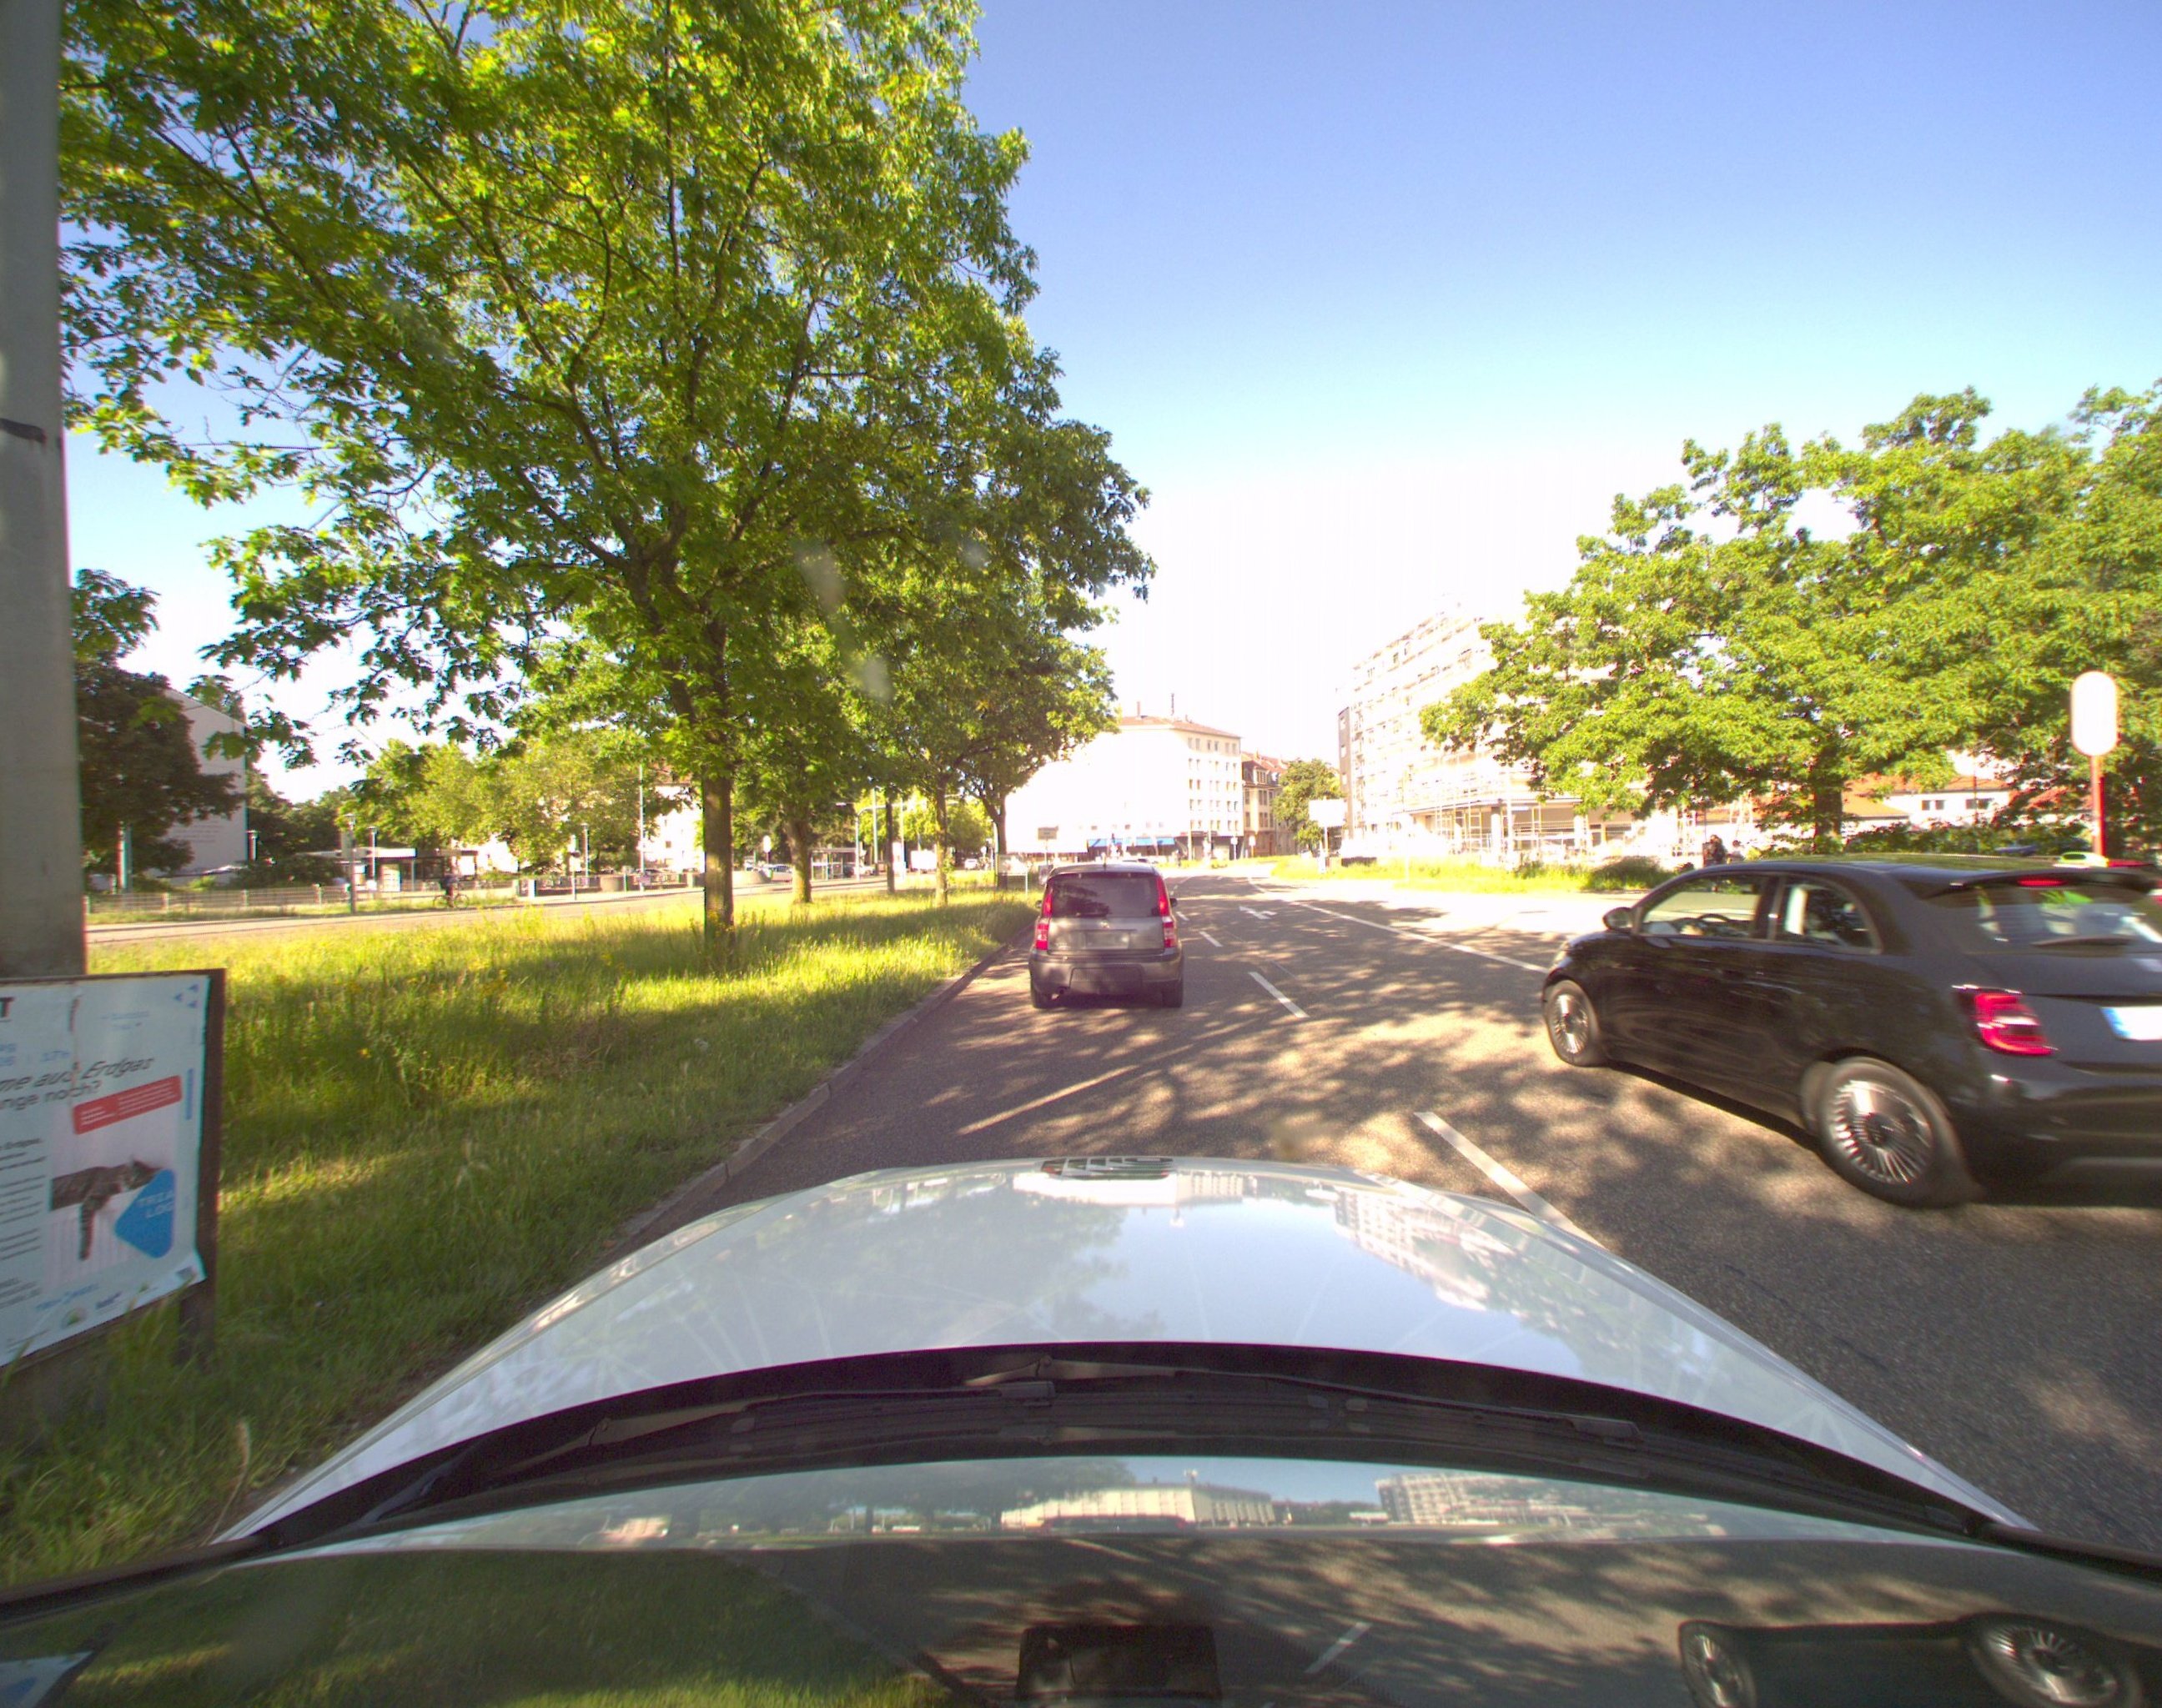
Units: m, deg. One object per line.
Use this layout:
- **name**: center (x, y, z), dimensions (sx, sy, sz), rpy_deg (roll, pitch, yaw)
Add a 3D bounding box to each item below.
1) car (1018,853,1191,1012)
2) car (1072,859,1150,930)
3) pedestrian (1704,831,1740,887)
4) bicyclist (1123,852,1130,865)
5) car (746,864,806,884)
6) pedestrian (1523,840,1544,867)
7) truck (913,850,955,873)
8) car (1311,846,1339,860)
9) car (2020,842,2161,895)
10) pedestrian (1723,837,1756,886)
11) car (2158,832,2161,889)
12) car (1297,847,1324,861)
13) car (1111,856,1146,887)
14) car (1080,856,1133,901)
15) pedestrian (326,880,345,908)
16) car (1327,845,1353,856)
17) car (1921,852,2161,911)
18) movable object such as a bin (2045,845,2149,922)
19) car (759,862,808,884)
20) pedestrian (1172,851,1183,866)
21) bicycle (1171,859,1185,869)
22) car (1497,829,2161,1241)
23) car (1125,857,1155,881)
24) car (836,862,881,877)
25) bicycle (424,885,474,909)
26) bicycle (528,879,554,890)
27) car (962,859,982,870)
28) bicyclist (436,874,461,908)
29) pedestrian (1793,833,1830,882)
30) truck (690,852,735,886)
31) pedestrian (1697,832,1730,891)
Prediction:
- **car**: center (0.331, 0.775, 9.620), dimensions (1.653, 1.510, 3.254), rpy_deg (-2, 0, 3)
- **car**: center (0.697, 0.878, 19.118), dimensions (1.615, 1.429, 3.690), rpy_deg (-2, 0, 2)
- **pedestrian**: center (19.170, 0.149, 24.365), dimensions (0.619, 1.634, 0.552), rpy_deg (-2, 0, 2)
- **bicyclist**: center (4.740, 0.477, 85.106), dimensions (0.533, 1.357, 0.592), rpy_deg (-2, 0, -27)
- **car**: center (-26.537, 1.725, 71.002), dimensions (1.849, 1.544, 4.576), rpy_deg (2, 2, 45)
- **pedestrian**: center (26.110, -0.027, 47.003), dimensions (0.649, 1.497, 0.907), rpy_deg (-1, 0, -6)
- **truck**: center (-16.171, 0.813, 89.404), dimensions (4.070, 2.427, 1.799), rpy_deg (-2, 0, 11)
- **car**: center (27.959, -0.113, 93.159), dimensions (1.802, 1.508, 4.026), rpy_deg (-2, 0, 35)
- **car**: center (33.639, 0.458, 26.403), dimensions (1.984, 1.607, 4.006), rpy_deg (0, -1, 5)
- **pedestrian**: center (20.852, 0.223, 25.788), dimensions (0.525, 1.518, 0.614), rpy_deg (-2, 0, 4)
- **car**: center (29.726, 0.269, 19.351), dimensions (1.984, 1.537, 4.897), rpy_deg (0, 2, 5)
- **car**: center (25.092, -0.010, 89.097), dimensions (1.757, 1.442, 3.642), rpy_deg (-1, 1, 34)
- **car**: center (2.367, 0.851, 40.806), dimensions (1.639, 1.438, 3.399), rpy_deg (-2, 0, 3)
- **car**: center (0.886, 0.861, 30.498), dimensions (1.754, 1.486, 4.292), rpy_deg (-2, 0, -1)
- **pedestrian**: center (-50.092, 2.684, 54.700), dimensions (0.553, 1.829, 0.731), rpy_deg (-2, -1, 23)
- **car**: center (37.930, -0.522, 119.447), dimensions (1.905, 1.594, 3.985), rpy_deg (-2, 0, -11)
- **car**: center (21.881, 0.567, 18.593), dimensions (1.392, 1.154, 3.912), rpy_deg (-2, 0, 1)
- **movable object such as a bin**: center (14.335, 0.407, 11.507), dimensions (0.724, 1.030, 0.578), rpy_deg (-2, 0, 1)
- **car**: center (-27.113, 1.696, 74.233), dimensions (1.741, 1.717, 4.025), rpy_deg (2, 2, 29)
- **pedestrian**: center (9.138, 0.453, 76.923), dimensions (0.774, 1.428, 0.935), rpy_deg (0, -1, -12)
- **bicycle**: center (9.148, 0.928, 76.847), dimensions (0.783, 0.951, 1.849), rpy_deg (0, -1, -11)
- **car**: center (4.231, 0.660, 4.825), dimensions (1.669, 1.503, 3.561), rpy_deg (-2, 0, 0)
- **car**: center (3.672, 0.920, 50.481), dimensions (1.682, 1.253, 3.633), rpy_deg (-2, 1, 6)
- **car**: center (-24.440, 1.700, 89.563), dimensions (4.377, 1.448, 1.667), rpy_deg (-2, 0, -3)
- **bicycle**: center (-28.917, 1.968, 37.297), dimensions (0.606, 1.001, 1.668), rpy_deg (-2, 0, 28)
- **bicycle**: center (-43.077, 2.434, 64.945), dimensions (1.695, 0.839, 0.541), rpy_deg (-2, 0, -41)
- **car**: center (-14.398, 1.331, 107.841), dimensions (1.986, 1.310, 4.002), rpy_deg (-2, 0, 2)
- **bicyclist**: center (-28.938, 1.690, 37.284), dimensions (0.606, 1.530, 0.680), rpy_deg (0, 1, 27)
- **pedestrian**: center (24.757, 0.116, 27.605), dimensions (0.701, 1.620, 0.566), rpy_deg (0, -1, -4)
- **truck**: center (-33.333, 1.326, 73.669), dimensions (4.768, 2.994, 2.012), rpy_deg (-1, 1, 44)
- **pedestrian**: center (18.576, 0.209, 23.920), dimensions (0.600, 1.700, 0.410), rpy_deg (-2, 0, 1)
